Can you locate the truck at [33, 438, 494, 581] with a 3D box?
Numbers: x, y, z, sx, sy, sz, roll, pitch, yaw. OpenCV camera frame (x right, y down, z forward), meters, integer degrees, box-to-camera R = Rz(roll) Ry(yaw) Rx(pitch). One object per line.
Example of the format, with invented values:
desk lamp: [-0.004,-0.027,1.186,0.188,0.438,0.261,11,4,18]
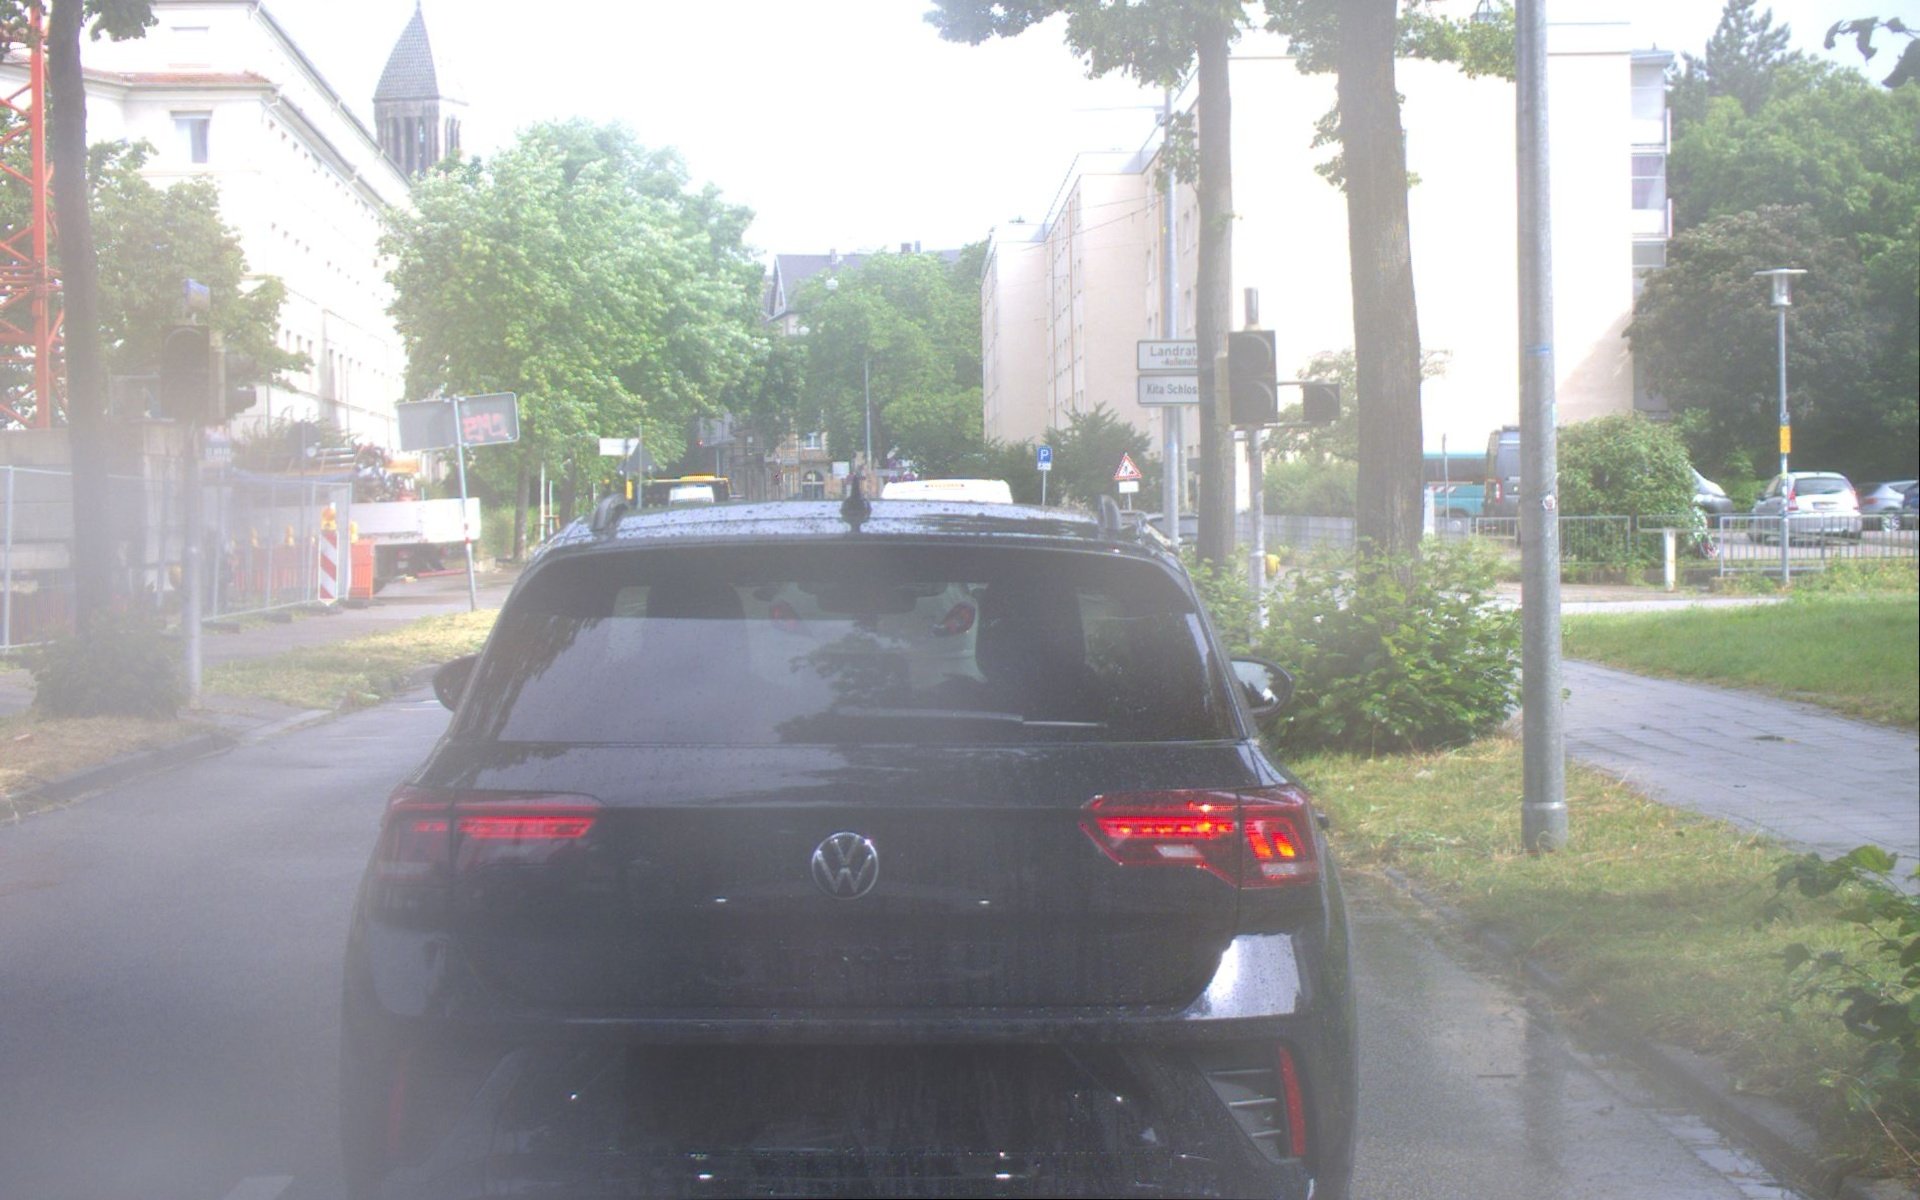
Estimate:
truck: [-13.301,-1.752,65.801,8.219,2.647,2.813,0,2,14]

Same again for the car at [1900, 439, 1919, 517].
car: [25.512,-3.176,87.804,1.994,2.006,4.000,-4,1,3]

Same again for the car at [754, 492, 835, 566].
car: [-4.088,-1.787,85.564,1.789,1.678,4.487,-4,2,-1]

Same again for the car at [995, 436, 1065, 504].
car: [2.115,-3.925,104.512,1.993,2.007,4.000,0,1,-1]

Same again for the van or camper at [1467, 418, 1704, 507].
van or camper: [13.834,-3.054,76.226,4.874,1.919,2.131,0,2,0]

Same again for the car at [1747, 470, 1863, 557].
car: [17.733,-1.829,72.301,1.743,1.678,3.870,-4,1,6]

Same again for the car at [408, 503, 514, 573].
car: [-11.977,-1.515,82.692,1.591,1.507,3.731,-4,2,5]

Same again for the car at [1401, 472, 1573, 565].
car: [10.932,-1.698,71.507,3.408,1.775,1.760,-2,2,6]

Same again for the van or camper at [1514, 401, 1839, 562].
van or camper: [12.217,-2.019,58.843,5.032,2.587,2.168,-1,1,-1]

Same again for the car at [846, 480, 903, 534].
car: [-2.582,-2.794,103.124,1.591,1.507,3.732,-4,2,-2]

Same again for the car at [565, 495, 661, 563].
car: [-8.524,-1.761,84.703,1.591,1.507,3.731,-4,2,5]

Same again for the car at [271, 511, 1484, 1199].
car: [-0.141,0.579,7.387,1.894,1.517,4.000,0,2,0]

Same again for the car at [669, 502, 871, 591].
car: [-4.086,-1.159,74.142,3.924,1.645,1.759,-5,2,-35]

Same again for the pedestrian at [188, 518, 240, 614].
pedestrian: [-11.797,-0.546,54.386,0.660,1.480,0.673,-1,2,-25]

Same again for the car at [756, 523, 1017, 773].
car: [-0.492,0.305,26.591,1.680,1.702,3.909,-3,1,3]

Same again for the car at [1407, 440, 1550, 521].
car: [12.997,-2.996,86.151,3.408,1.775,1.759,-3,1,9]

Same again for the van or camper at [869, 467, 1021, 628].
van or camper: [-0.148,-0.699,43.369,1.819,1.941,4.195,0,2,1]

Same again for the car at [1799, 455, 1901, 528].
car: [24.205,-2.948,93.614,1.867,1.850,3.810,-4,1,3]
